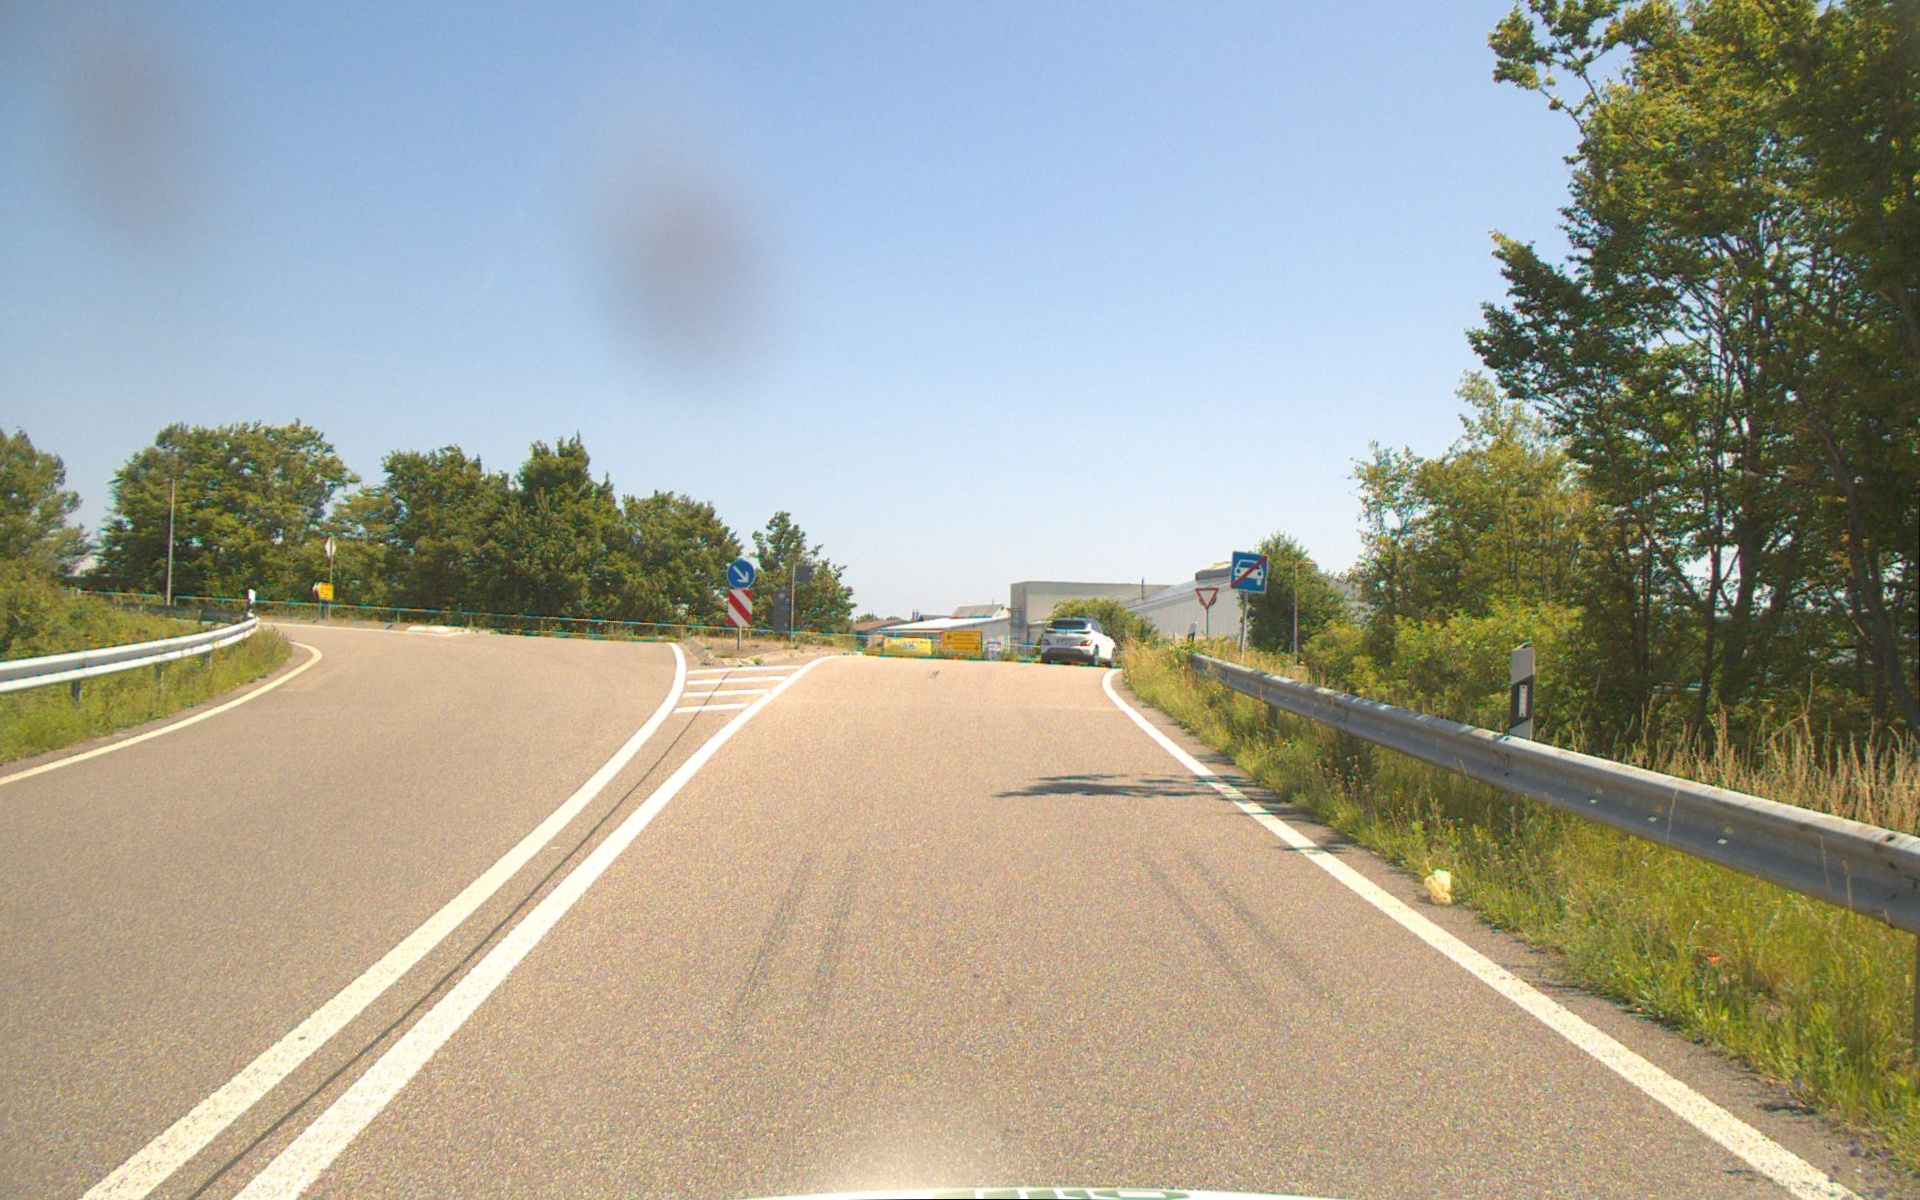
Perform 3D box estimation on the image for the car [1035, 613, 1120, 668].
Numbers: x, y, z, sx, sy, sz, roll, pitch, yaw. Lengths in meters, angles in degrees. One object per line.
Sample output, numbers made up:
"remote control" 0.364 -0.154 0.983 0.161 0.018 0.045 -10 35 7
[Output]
"car" 3.878 1.333 54.004 1.771 1.721 4.001 0 -2 19
